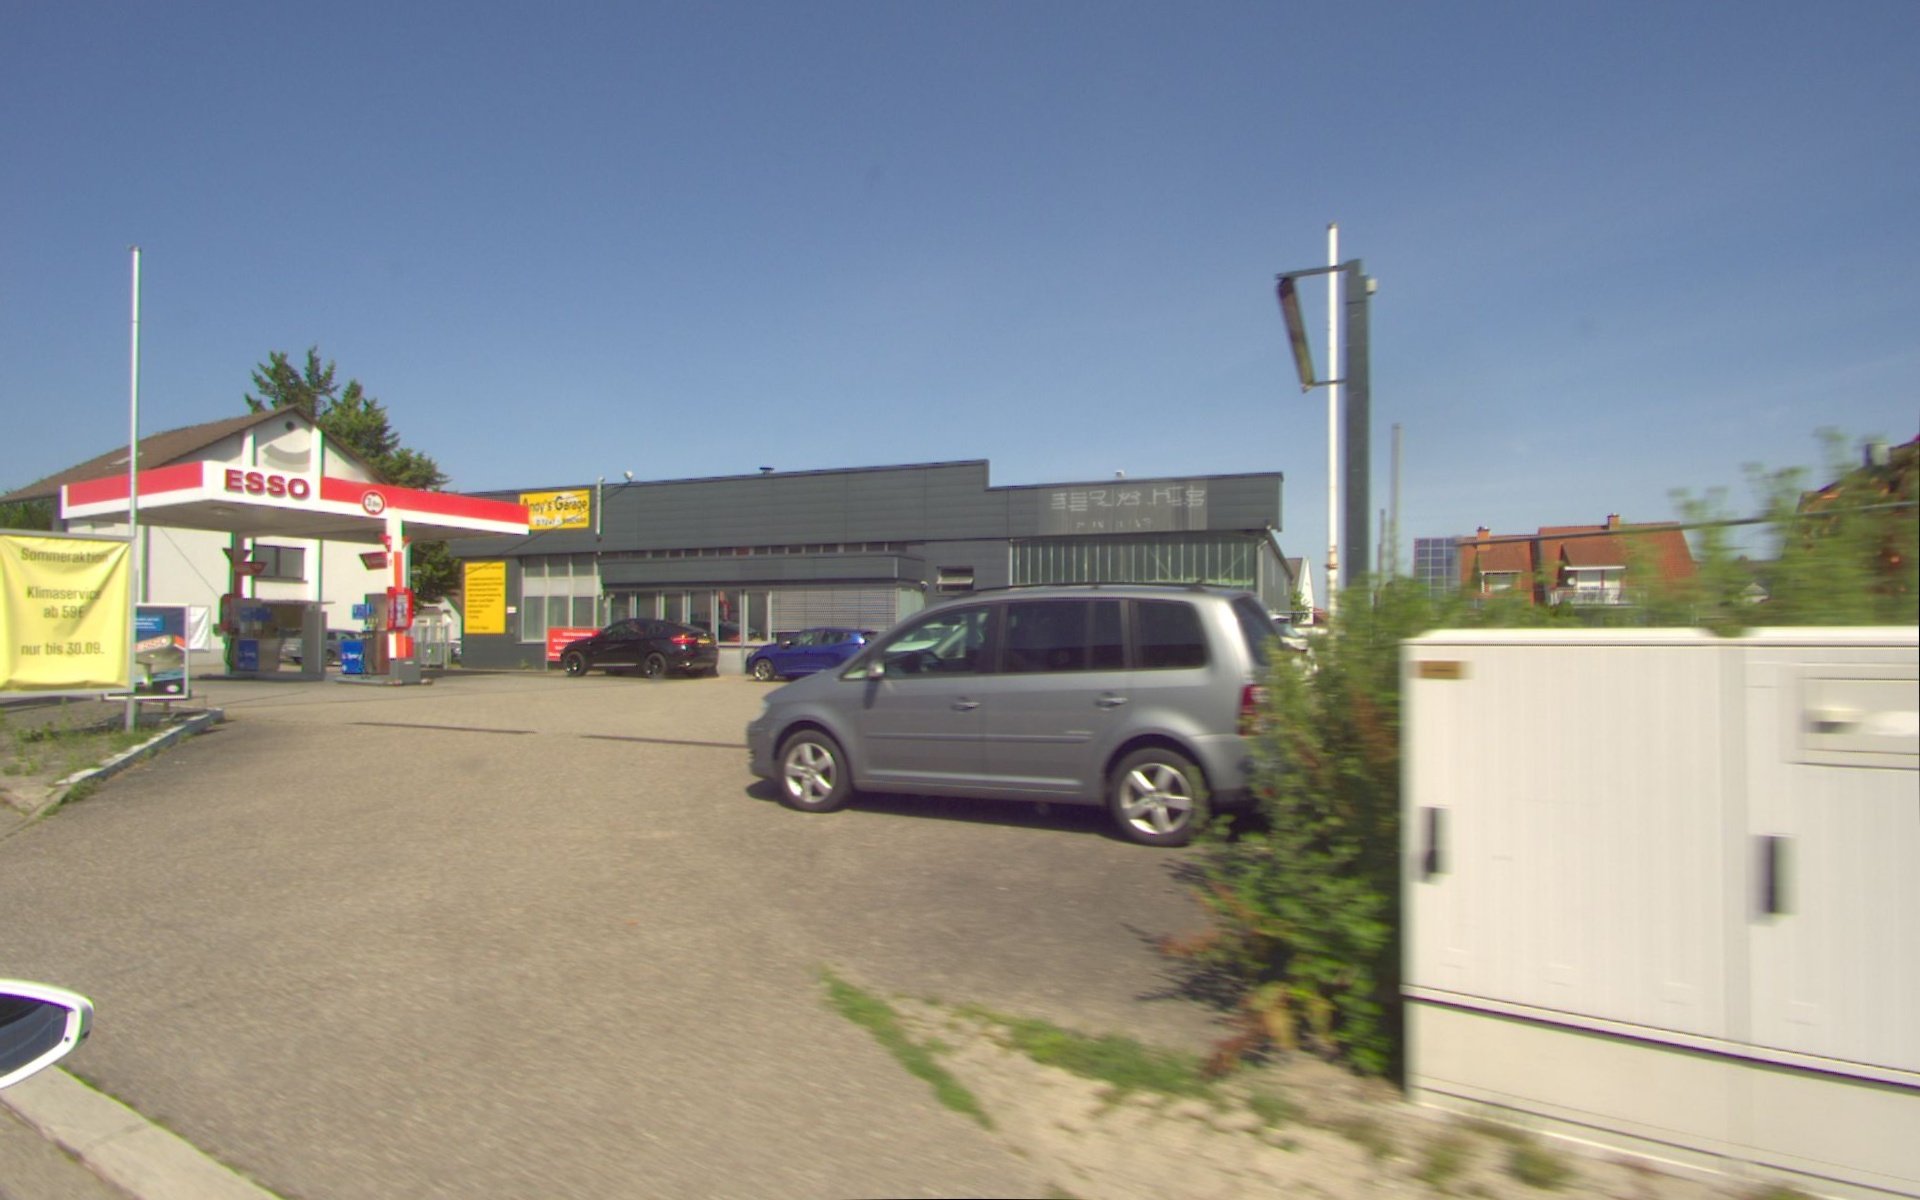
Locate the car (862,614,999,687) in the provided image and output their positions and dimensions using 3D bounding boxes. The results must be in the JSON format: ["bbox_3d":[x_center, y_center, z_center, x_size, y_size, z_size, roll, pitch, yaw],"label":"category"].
[{"bbox_3d":[-0.636,1.228,25.197,1.782,1.655,4.142,-1,-2,25],"label":"car"}]

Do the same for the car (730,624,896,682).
[{"bbox_3d":[-3.934,1.398,26.879,4.056,1.450,1.795,-1,-2,21],"label":"car"}]

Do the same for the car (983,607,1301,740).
[{"bbox_3d":[2.522,0.958,13.876,4.037,1.612,1.842,-1,-2,23],"label":"car"}]

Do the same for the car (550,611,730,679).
[{"bbox_3d":[-9.158,1.257,28.688,4.733,1.763,1.807,1,-2,20],"label":"car"}]

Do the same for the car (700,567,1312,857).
[{"bbox_3d":[0.311,0.646,7.626,4.297,1.708,1.804,1,0,26],"label":"car"}]

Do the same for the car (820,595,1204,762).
[{"bbox_3d":[0.608,0.821,11.384,3.933,1.612,1.971,-1,-2,23],"label":"car"}]

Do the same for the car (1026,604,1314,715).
[{"bbox_3d":[3.418,0.927,16.255,4.266,1.612,2.000,-1,-2,23],"label":"car"}]

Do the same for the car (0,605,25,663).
[{"bbox_3d":[-34.974,1.143,33.531,2.188,2.039,5.288,0,-1,3],"label":"car"}]

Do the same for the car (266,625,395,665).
[{"bbox_3d":[-25.025,1.778,39.962,1.782,1.498,4.062,-1,-2,25],"label":"car"}]

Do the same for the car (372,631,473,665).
[{"bbox_3d":[-25.735,2.323,47.984,4.027,1.497,1.800,4,-5,-36],"label":"car"}]

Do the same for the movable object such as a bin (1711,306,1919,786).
[{"bbox_3d":[9.982,-0.436,9.036,2.731,4.070,16.043,0,-2,28],"label":"movable object such as a bin"}]

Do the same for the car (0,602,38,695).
[{"bbox_3d":[-18.364,0.868,16.612,4.114,1.575,1.769,-1,-1,-24],"label":"car"}]
